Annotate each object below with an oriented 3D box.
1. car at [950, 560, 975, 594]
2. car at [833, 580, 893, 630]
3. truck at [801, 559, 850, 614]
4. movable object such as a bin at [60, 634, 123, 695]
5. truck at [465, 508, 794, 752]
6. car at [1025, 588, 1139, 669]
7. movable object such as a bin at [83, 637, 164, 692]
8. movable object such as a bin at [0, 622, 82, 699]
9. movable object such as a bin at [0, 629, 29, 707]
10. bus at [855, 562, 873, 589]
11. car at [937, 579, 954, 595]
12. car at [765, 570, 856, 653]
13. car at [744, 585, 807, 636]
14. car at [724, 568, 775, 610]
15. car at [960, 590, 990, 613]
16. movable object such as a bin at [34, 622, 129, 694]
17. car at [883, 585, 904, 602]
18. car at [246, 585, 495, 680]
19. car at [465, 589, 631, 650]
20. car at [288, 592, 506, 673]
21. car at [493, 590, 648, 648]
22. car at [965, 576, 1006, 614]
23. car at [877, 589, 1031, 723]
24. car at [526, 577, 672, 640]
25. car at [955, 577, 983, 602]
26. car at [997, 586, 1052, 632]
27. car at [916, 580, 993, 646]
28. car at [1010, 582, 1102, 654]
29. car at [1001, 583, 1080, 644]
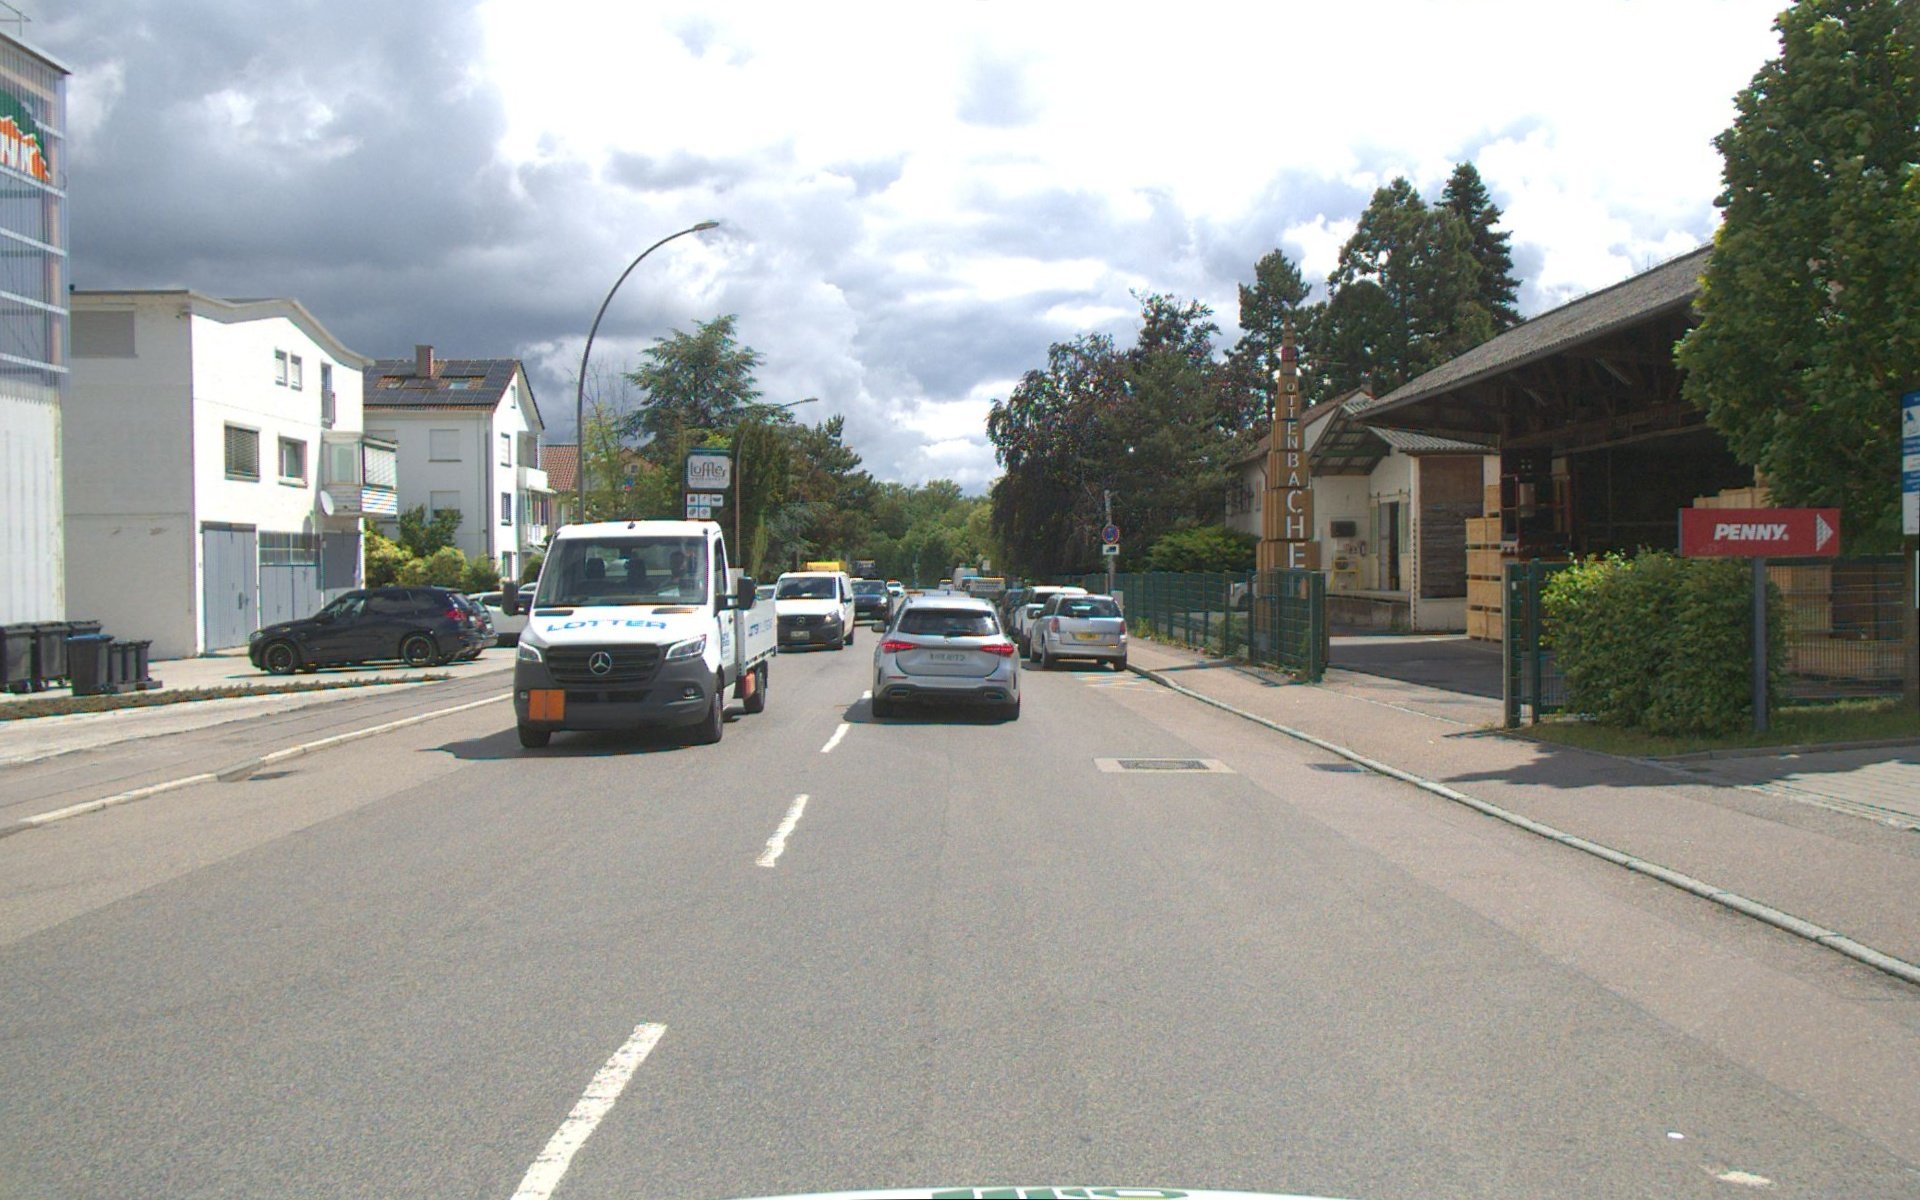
[{"bbox_3d":[0.155,-1.792,130.299,1.749,2.562,4.314,1,0,-3],"label":"car"},{"bbox_3d":[-3.711,0.162,63.989,1.953,1.763,4.548,-1,1,0],"label":"car"},{"bbox_3d":[-7.331,-0.787,90.918,2.032,2.863,7.078,-2,1,0],"label":"truck"},{"bbox_3d":[-15.840,1.168,30.176,0.728,1.048,0.712,-2,1,0],"label":"movable object such as a bin"},{"bbox_3d":[-3.404,0.231,18.635,2.271,2.216,6.450,-1,1,1],"label":"truck"},{"bbox_3d":[2.434,0.530,33.979,1.756,1.475,4.360,-2,1,-3],"label":"car"},{"bbox_3d":[-15.810,1.206,31.296,0.728,0.935,1.519,-2,1,0],"label":"movable object such as a bin"},{"bbox_3d":[-17.987,1.158,32.031,0.937,1.380,1.818,-2,1,0],"label":"movable object such as a bin"},{"bbox_3d":[-17.982,1.242,30.168,0.937,1.379,1.818,2,1,0],"label":"movable object such as a bin"},{"bbox_3d":[-12.646,-3.281,217.081,1.955,3.423,6.973,2,1,-6],"label":"bus"},{"bbox_3d":[-1.532,-1.363,174.222,1.720,1.585,3.999,0,1,-2],"label":"car"},{"bbox_3d":[-3.690,0.237,41.628,1.953,1.921,5.115,-1,1,-2],"label":"car"},{"bbox_3d":[-6.383,0.318,57.501,1.755,1.631,4.362,-1,1,-1],"label":"car"},{"bbox_3d":[-8.989,-0.499,70.978,1.955,1.686,3.996,-1,1,-5],"label":"car"},{"bbox_3d":[1.002,0.102,113.049,1.749,1.510,4.314,1,0,-3],"label":"car"},{"bbox_3d":[-17.981,1.171,33.898,0.937,1.380,1.818,-1,1,0],"label":"movable object such as a bin"},{"bbox_3d":[-6.257,-0.588,156.311,1.895,1.518,4.362,-1,1,-1],"label":"car"},{"bbox_3d":[-12.650,0.667,35.764,4.536,1.661,2.196,-4,1,-5],"label":"car"},{"bbox_3d":[-11.589,0.565,46.716,4.192,1.594,1.990,-1,-3,-1],"label":"car"},{"bbox_3d":[-12.967,0.722,38.293,4.374,1.531,1.824,-4,1,-5],"label":"car"},{"bbox_3d":[-11.560,0.589,49.292,4.193,1.594,1.990,-1,-3,-2],"label":"car"},{"bbox_3d":[1.401,-0.291,92.793,2.100,2.018,5.260,-1,1,-1],"label":"car"},{"bbox_3d":[-0.169,0.642,21.074,1.749,1.510,4.314,1,0,-3],"label":"car"},{"bbox_3d":[-11.304,0.282,52.016,4.193,1.868,1.990,-1,-3,-2],"label":"car"},{"bbox_3d":[0.602,-0.718,118.067,1.749,1.745,4.314,1,0,-3],"label":"car"},{"bbox_3d":[2.170,0.291,56.237,1.655,1.476,3.848,-1,1,-1],"label":"car"},{"bbox_3d":[-0.182,0.286,41.684,1.721,1.585,3.998,0,1,-3],"label":"car"},{"bbox_3d":[2.241,0.380,39.601,1.756,1.579,4.572,-2,1,-2],"label":"car"},{"bbox_3d":[2.175,0.346,45.704,1.656,1.579,4.082,-1,1,-5],"label":"car"}]
